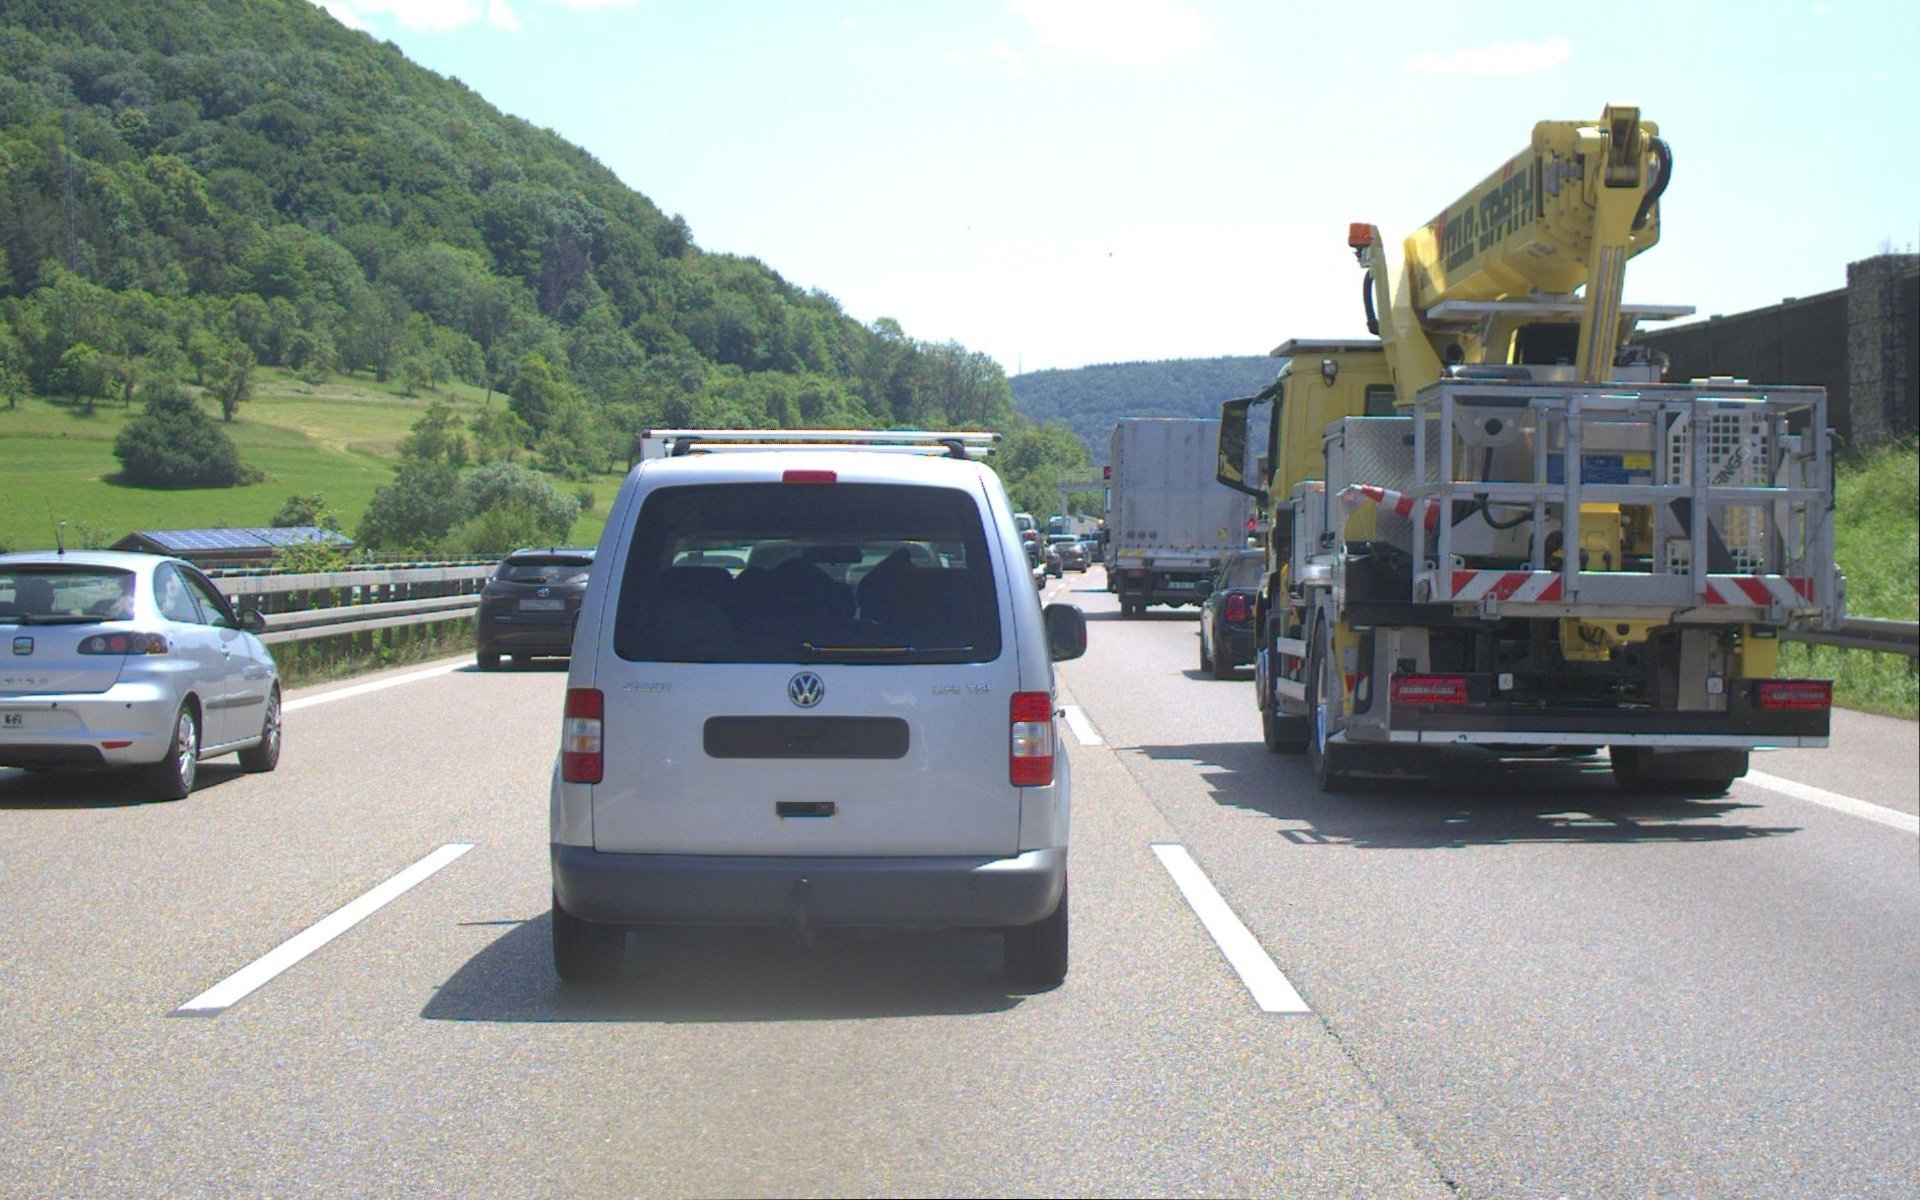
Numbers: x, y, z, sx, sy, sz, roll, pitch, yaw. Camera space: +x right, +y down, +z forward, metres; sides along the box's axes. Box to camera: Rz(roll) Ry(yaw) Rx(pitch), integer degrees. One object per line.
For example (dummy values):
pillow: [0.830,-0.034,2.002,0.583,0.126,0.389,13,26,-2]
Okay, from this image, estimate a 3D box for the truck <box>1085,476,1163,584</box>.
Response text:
truck: [5.116,-2.158,107.800,1.993,3.240,6.800,1,1,-1]

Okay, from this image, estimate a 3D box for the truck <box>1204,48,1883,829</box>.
truck: [3.253,-0.893,21.700,2.704,3.929,8.722,0,1,-1]

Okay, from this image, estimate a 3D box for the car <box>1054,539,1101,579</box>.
car: [5.352,-1.866,156.723,1.993,1.799,4.000,1,1,0]

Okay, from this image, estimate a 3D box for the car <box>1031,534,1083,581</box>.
car: [3.867,-1.694,137.562,1.993,1.799,4.000,1,1,0]

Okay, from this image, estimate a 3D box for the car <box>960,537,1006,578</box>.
car: [1.033,-1.900,154.200,1.993,1.799,4.000,1,1,0]

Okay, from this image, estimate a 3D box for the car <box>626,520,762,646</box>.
car: [-4.427,-0.314,57.749,1.993,2.007,4.000,-1,1,-1]

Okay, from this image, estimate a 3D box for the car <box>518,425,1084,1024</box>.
car: [-0.516,0.352,12.706,1.756,1.861,4.000,0,1,-1]

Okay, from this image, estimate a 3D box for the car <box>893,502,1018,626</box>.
car: [-0.092,-0.609,56.637,1.993,1.969,4.000,0,1,-1]

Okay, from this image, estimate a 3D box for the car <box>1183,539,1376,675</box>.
car: [3.559,0.040,38.811,1.786,1.453,3.771,0,1,-1]

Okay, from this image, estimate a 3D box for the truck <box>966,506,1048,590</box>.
truck: [1.494,-1.631,107.413,2.390,2.532,5.939,0,1,2]

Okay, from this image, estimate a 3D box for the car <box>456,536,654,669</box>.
car: [-4.788,-0.007,41.113,1.925,1.494,4.000,1,1,-1]

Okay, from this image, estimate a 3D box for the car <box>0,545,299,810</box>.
car: [-5.200,0.393,20.751,1.695,1.440,3.862,0,1,0]

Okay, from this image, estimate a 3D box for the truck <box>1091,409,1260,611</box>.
truck: [4.271,-1.759,69.737,2.940,3.810,8.237,1,1,1]
